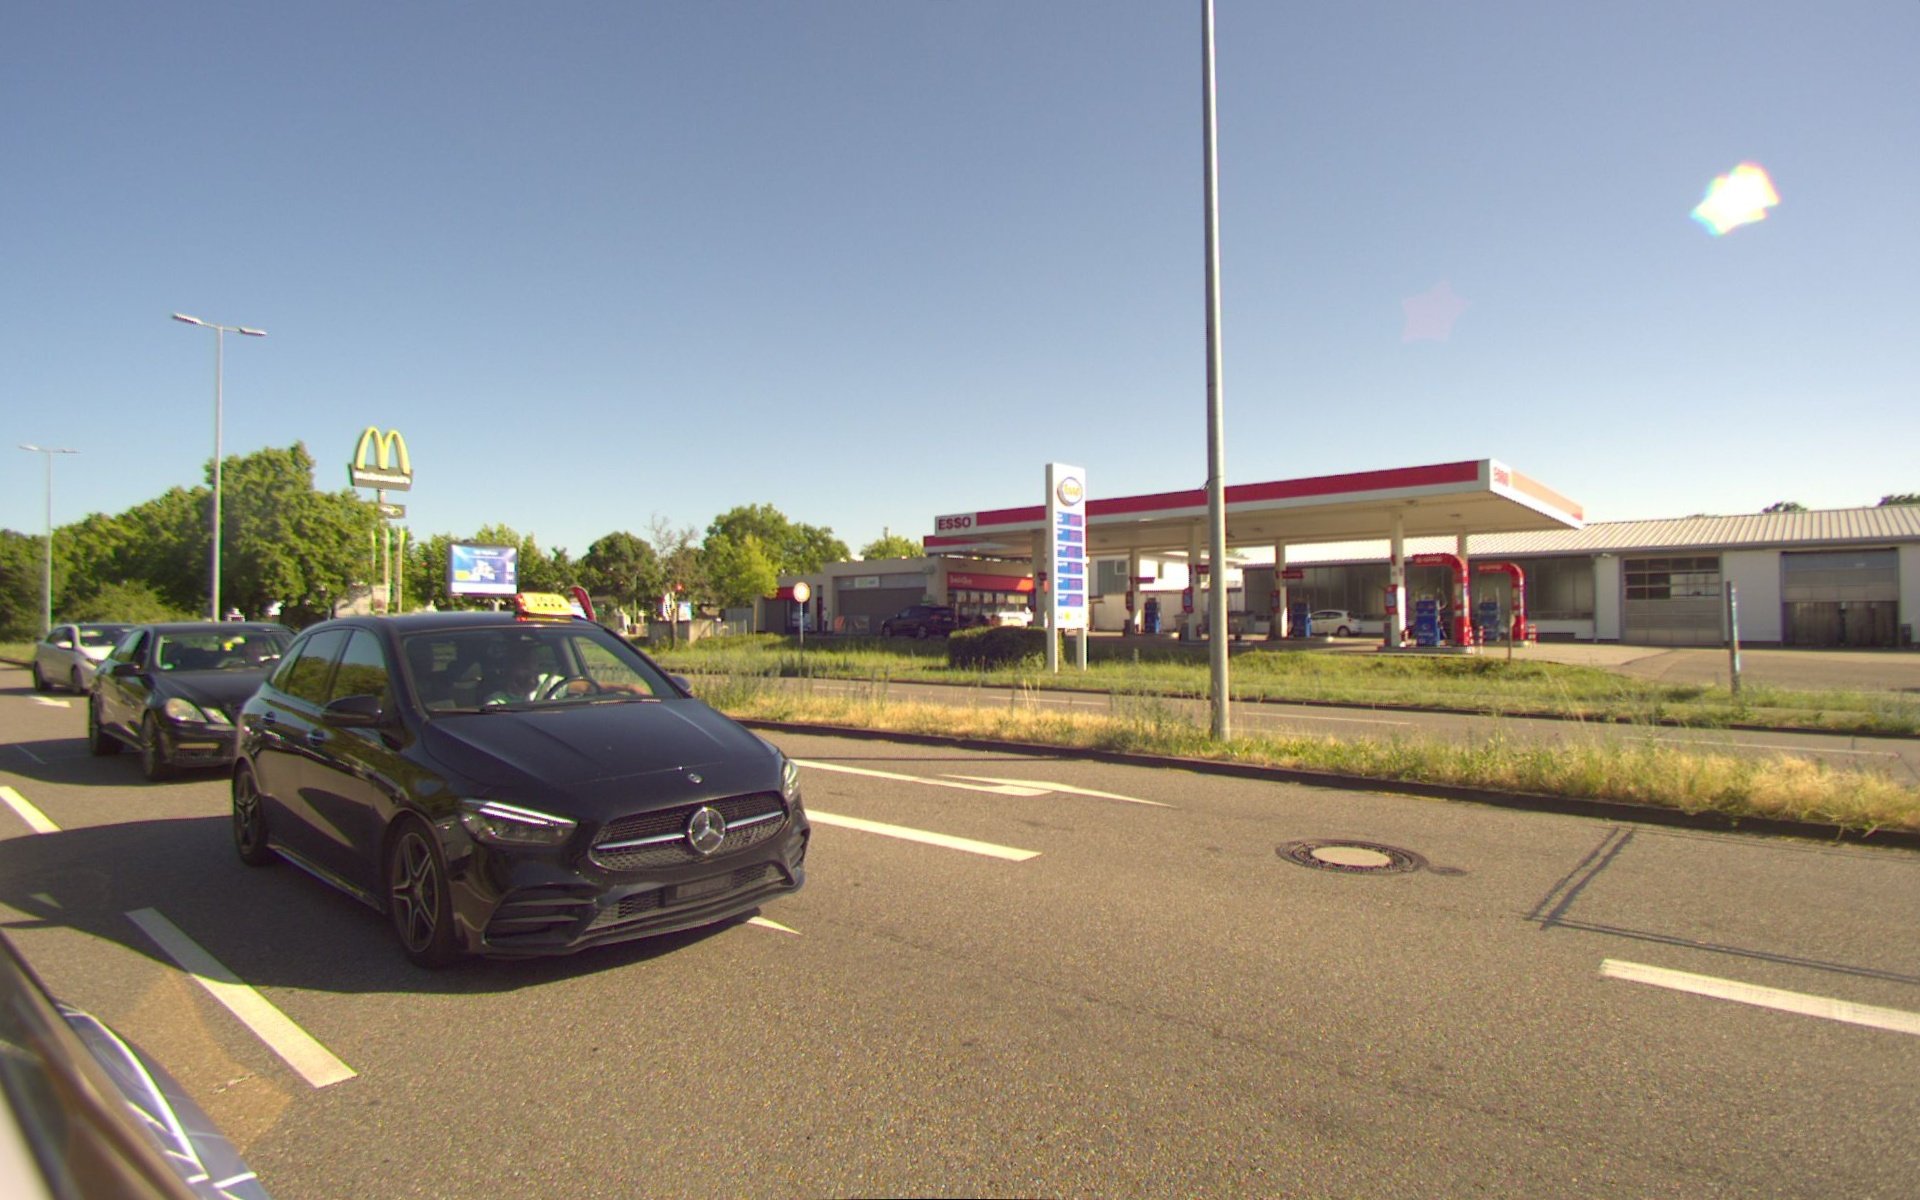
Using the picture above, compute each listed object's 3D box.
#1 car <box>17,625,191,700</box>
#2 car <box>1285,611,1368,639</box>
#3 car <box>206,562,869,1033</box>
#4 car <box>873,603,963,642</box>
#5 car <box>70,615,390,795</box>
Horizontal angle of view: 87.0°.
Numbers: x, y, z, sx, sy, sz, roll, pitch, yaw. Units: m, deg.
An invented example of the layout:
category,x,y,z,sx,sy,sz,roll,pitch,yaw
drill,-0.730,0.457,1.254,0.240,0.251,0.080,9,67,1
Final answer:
category,x,y,z,sx,sy,sz,roll,pitch,yaw
car,-18.484,1.284,21.802,4.393,1.440,1.841,-1,-2,35
car,19.845,1.345,54.874,3.844,1.450,1.730,-2,-2,39
car,-2.583,0.740,5.611,4.187,1.638,1.780,-2,-2,42
car,-2.049,1.088,48.350,4.117,1.783,1.972,-2,-1,43
car,-7.906,0.954,10.798,4.401,1.535,1.838,-2,-2,41
